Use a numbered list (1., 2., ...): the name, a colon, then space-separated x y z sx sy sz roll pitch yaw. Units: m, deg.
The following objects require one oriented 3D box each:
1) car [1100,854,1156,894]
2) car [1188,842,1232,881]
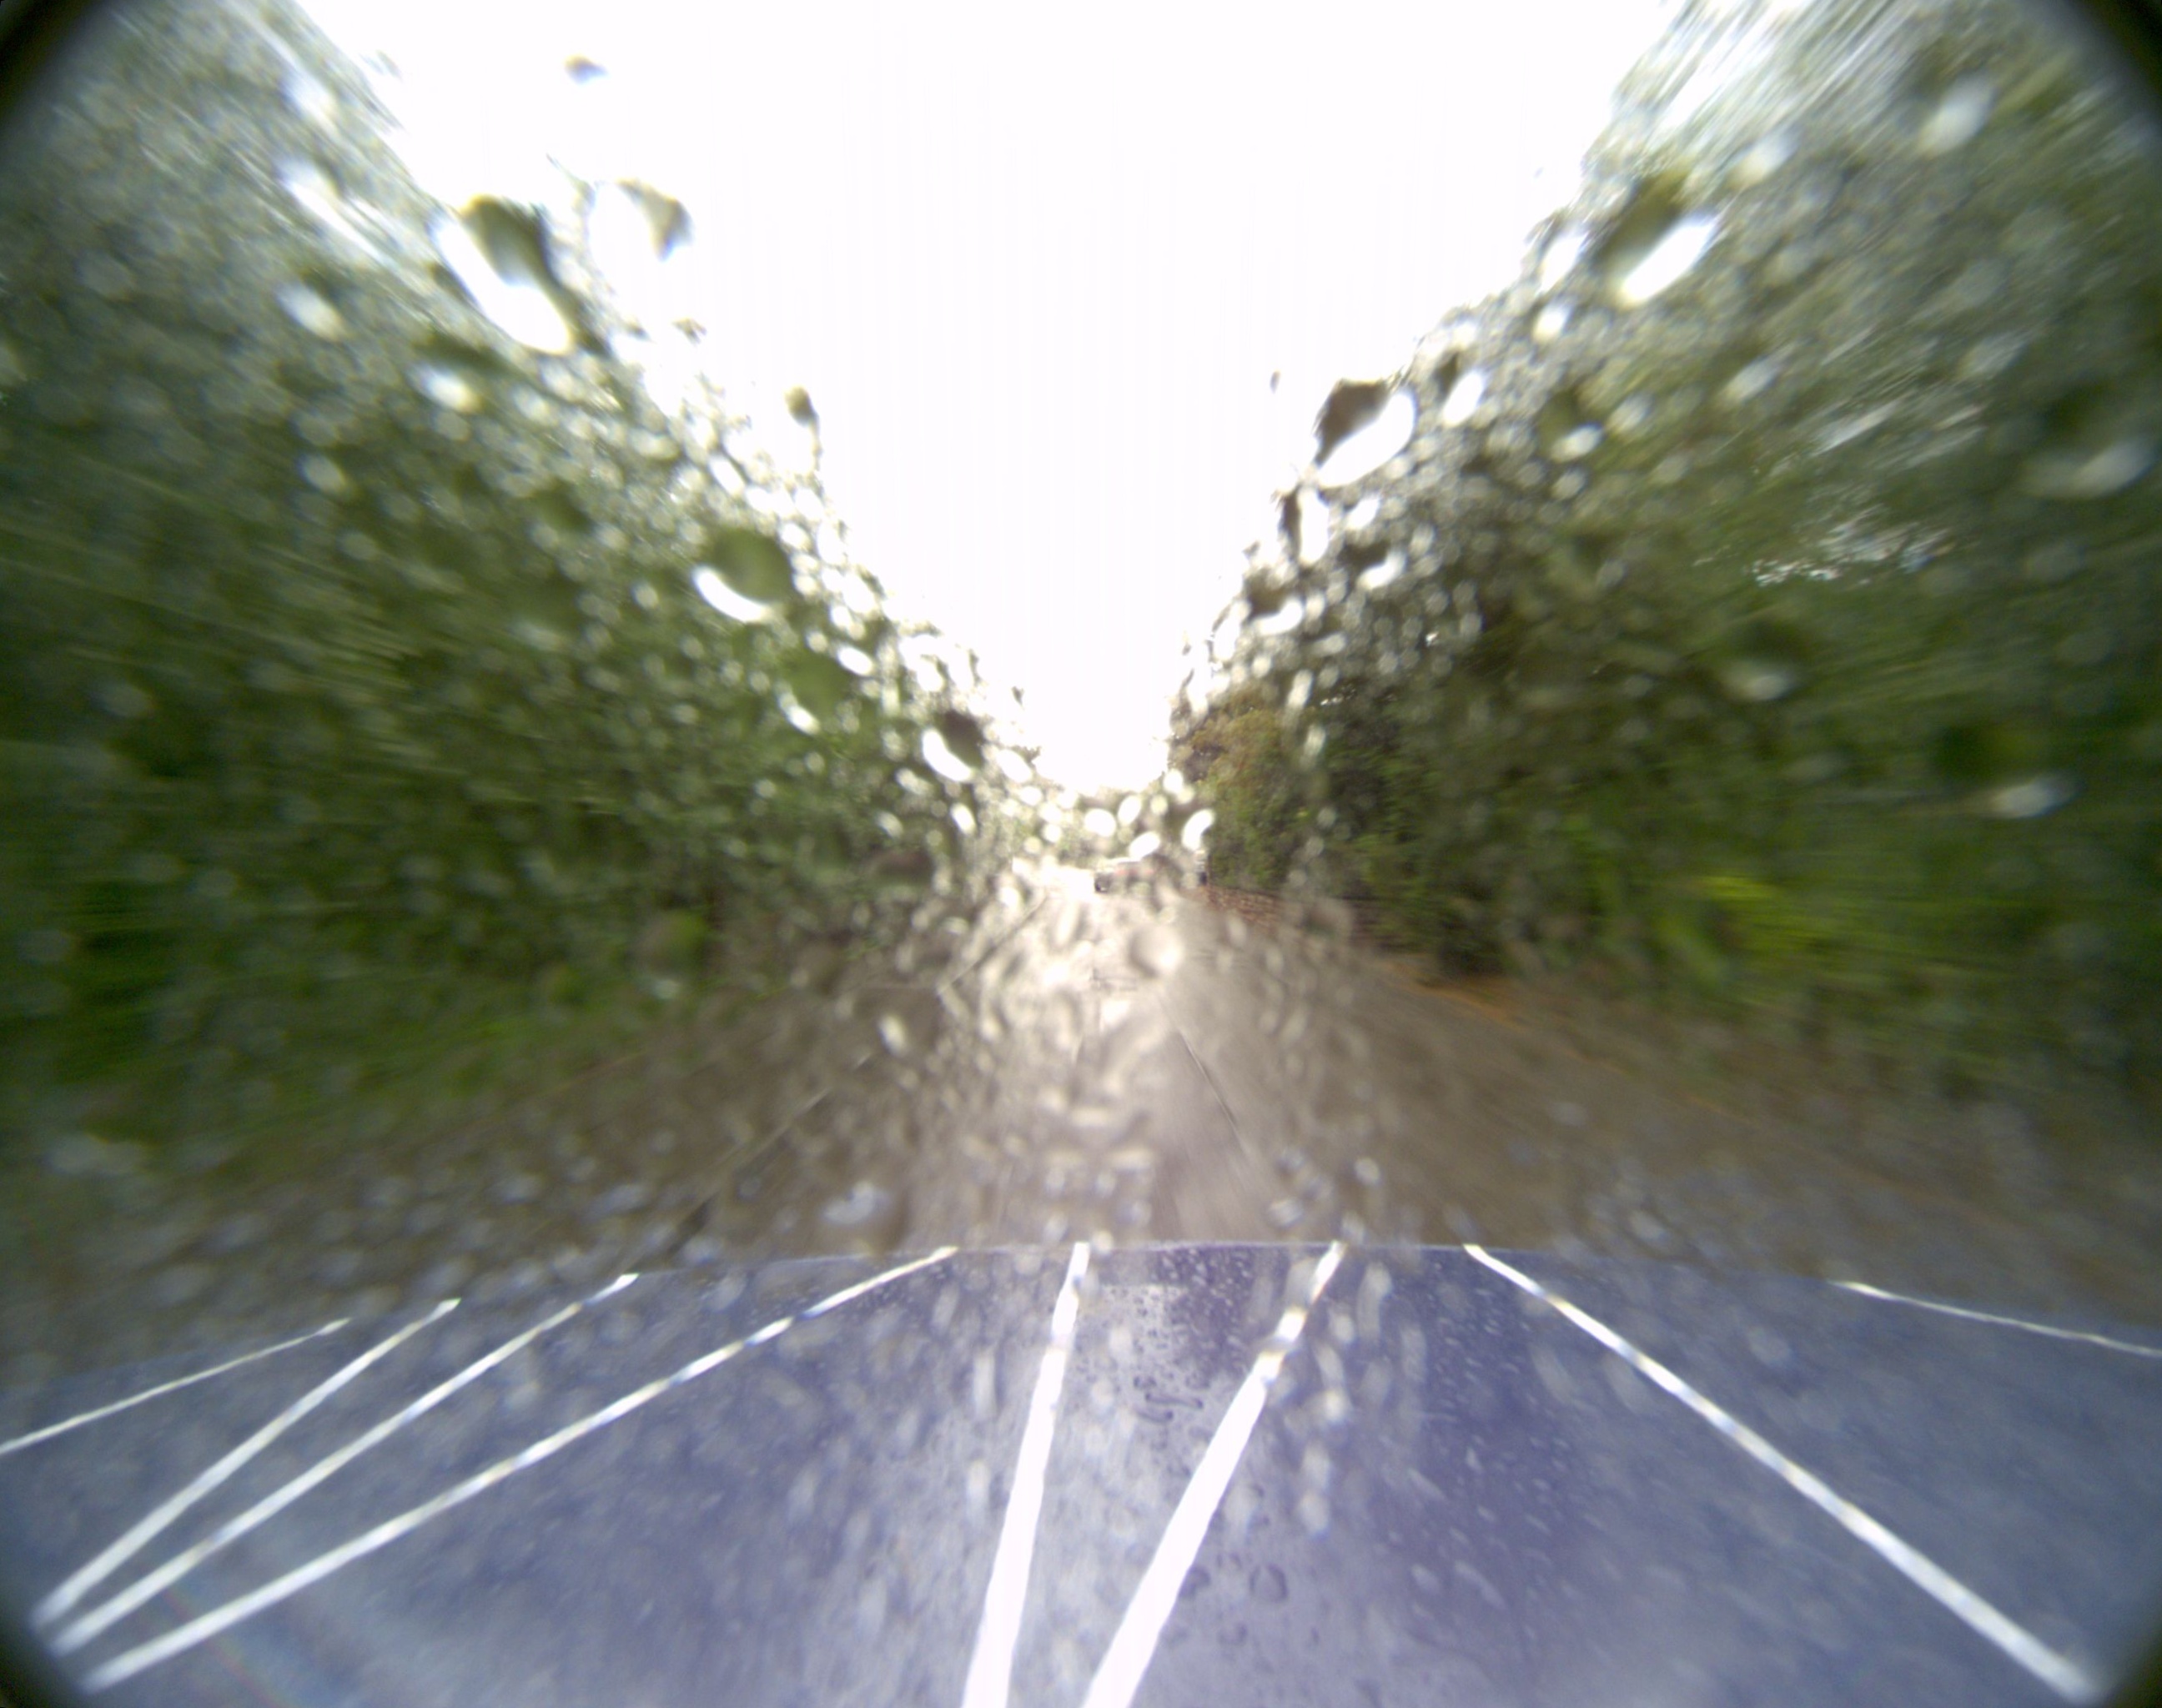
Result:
1. car: 2.001 0.833 33.639 1.894 1.514 4.419 -2 1 -4
2. car: 6.280 0.346 37.250 1.788 1.518 3.656 -5 3 7
